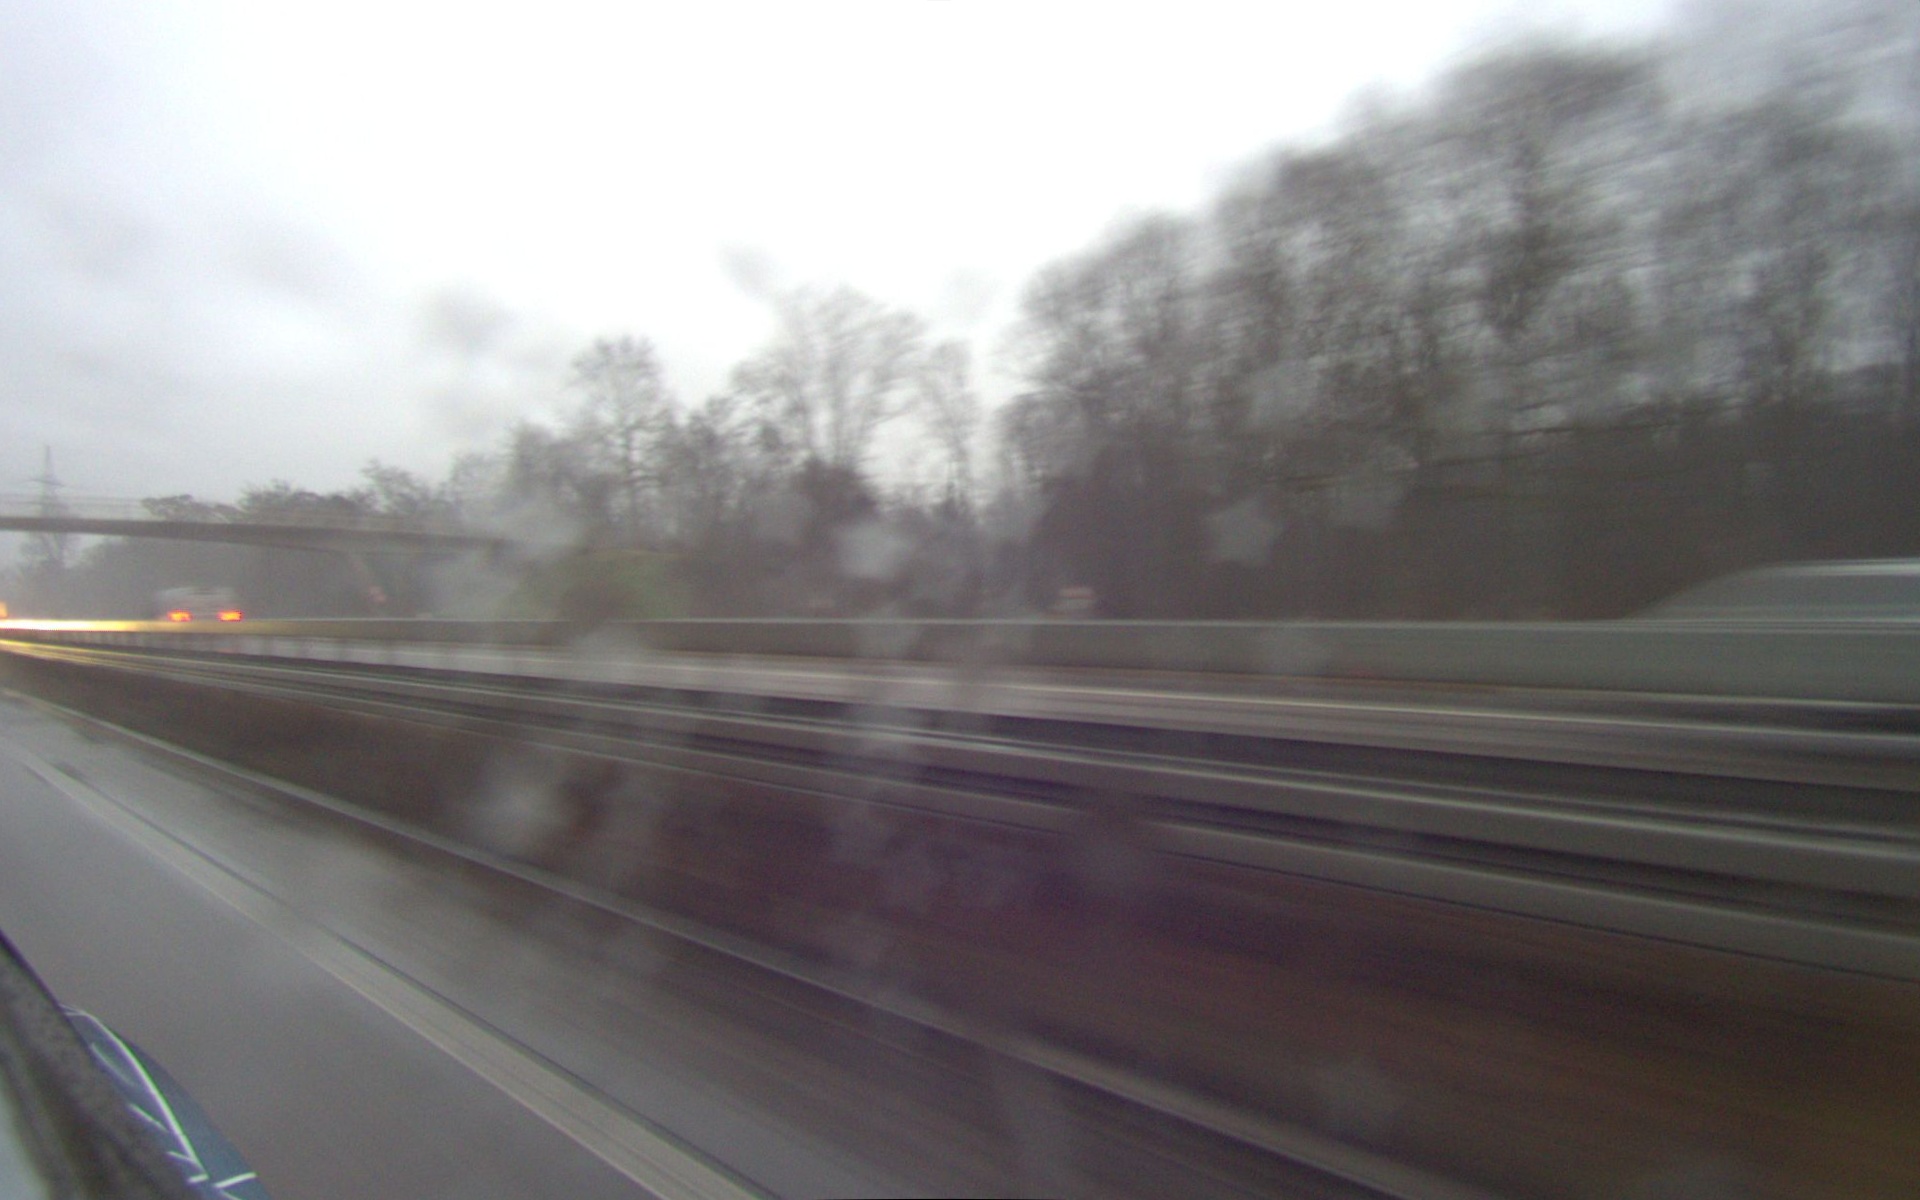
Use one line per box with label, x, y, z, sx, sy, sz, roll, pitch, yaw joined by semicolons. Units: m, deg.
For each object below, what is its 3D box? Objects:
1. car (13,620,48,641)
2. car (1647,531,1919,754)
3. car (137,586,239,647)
car;-75.888;2.448;82.574;3.999;1.619;1.761;-1;0;42
car;8.154;0.296;7.762;4.602;1.659;1.672;-1;0;41
car;-34.789;0.720;45.519;6.266;2.542;2.450;-1;0;41
